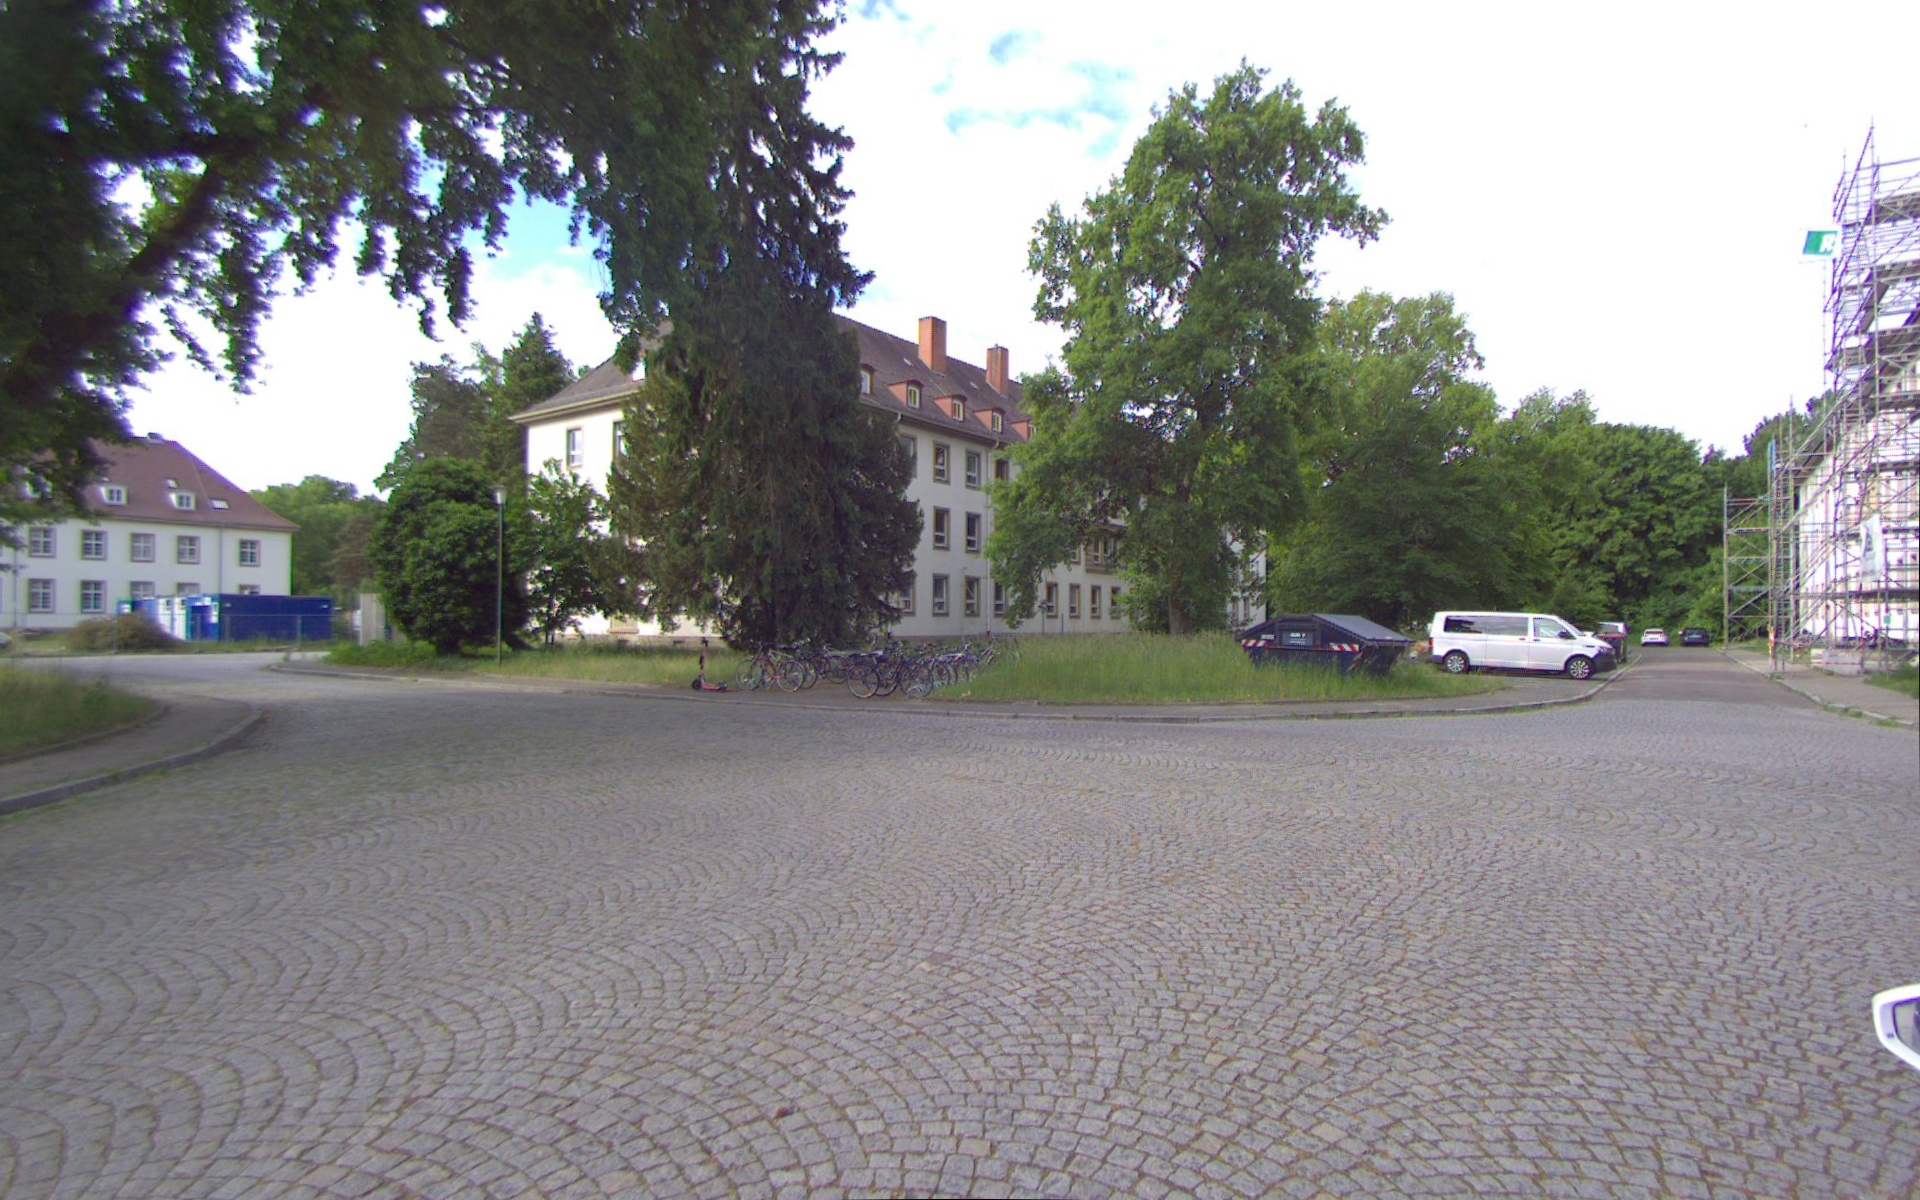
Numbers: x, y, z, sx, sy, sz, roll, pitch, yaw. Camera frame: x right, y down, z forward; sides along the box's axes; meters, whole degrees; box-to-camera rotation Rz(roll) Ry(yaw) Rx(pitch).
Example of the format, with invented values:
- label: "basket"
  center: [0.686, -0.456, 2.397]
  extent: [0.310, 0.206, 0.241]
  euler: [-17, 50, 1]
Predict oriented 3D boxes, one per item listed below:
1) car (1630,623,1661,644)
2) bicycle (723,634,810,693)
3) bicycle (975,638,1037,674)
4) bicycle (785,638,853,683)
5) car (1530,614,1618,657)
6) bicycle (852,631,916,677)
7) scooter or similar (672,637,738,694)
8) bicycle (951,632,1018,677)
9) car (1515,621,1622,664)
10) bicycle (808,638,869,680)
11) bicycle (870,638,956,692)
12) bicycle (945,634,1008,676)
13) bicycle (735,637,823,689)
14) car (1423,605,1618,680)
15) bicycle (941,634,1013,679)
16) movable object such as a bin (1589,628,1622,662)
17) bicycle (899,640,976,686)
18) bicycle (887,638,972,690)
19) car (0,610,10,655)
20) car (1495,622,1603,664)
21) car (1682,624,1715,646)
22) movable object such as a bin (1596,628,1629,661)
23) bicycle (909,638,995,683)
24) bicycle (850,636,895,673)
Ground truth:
- label: "car"
  center: [57.302, 2.817, 84.000]
  extent: [1.973, 1.568, 3.948]
  euler: [3, 0, 33]
- label: "bicycle"
  center: [-4.413, 1.425, 22.894]
  extent: [1.863, 1.239, 0.644]
  euler: [0, 1, 17]
- label: "bicycle"
  center: [1.258, 1.520, 27.324]
  extent: [1.589, 0.923, 0.527]
  euler: [-1, 1, 17]
- label: "bicycle"
  center: [-3.498, 1.497, 24.942]
  extent: [1.597, 1.088, 0.540]
  euler: [0, 1, 6]
- label: "car"
  center: [33.115, 1.874, 54.235]
  extent: [3.931, 2.040, 1.917]
  euler: [3, 0, 32]
- label: "bicycle"
  center: [-2.042, 1.445, 27.046]
  extent: [1.610, 1.201, 0.574]
  euler: [0, 1, 11]
- label: "scooter or similar"
  center: [-5.816, 1.471, 22.887]
  extent: [1.529, 1.211, 0.679]
  euler: [-1, -1, 40]
- label: "bicycle"
  center: [0.643, 1.441, 26.369]
  extent: [1.668, 1.131, 0.542]
  euler: [-1, 1, 17]
- label: "car"
  center: [26.371, 1.834, 43.560]
  extent: [3.641, 1.613, 1.755]
  euler: [3, 0, 43]
- label: "bicycle"
  center: [-3.181, 1.536, 26.366]
  extent: [1.485, 1.049, 0.545]
  euler: [0, 1, 6]
- label: "bicycle"
  center: [-1.034, 1.428, 22.093]
  extent: [1.738, 1.118, 0.702]
  euler: [-1, 1, 17]
- label: "bicycle"
  center: [0.437, 1.474, 27.011]
  extent: [1.589, 1.073, 0.527]
  euler: [-1, 1, 17]
- label: "bicycle"
  center: [-4.242, 1.467, 23.555]
  extent: [1.952, 1.129, 0.644]
  euler: [0, 1, 17]
- label: "car"
  center: [17.605, 1.290, 31.654]
  extent: [5.132, 2.087, 2.181]
  euler: [1, -1, 36]
- label: "bicycle"
  center: [0.428, 1.450, 25.850]
  extent: [1.741, 1.120, 0.542]
  euler: [-1, 1, 17]
- label: "movable object such as a bin"
  center: [29.444, 2.044, 45.826]
  extent: [1.168, 1.426, 0.972]
  euler: [3, 0, 37]
- label: "bicycle"
  center: [-0.516, 1.477, 23.428]
  extent: [1.663, 1.015, 0.632]
  euler: [-1, 1, 17]
- label: "bicycle"
  center: [-0.682, 1.438, 22.757]
  extent: [1.763, 1.118, 0.702]
  euler: [-1, 1, 17]
- label: "car"
  center: [-51.003, 1.561, 49.666]
  extent: [2.091, 2.236, 5.513]
  euler: [3, 0, 36]
- label: "car"
  center: [24.791, 1.799, 42.336]
  extent: [3.590, 1.500, 1.810]
  euler: [3, 0, 45]
- label: "car"
  center: [60.404, 2.861, 82.128]
  extent: [2.038, 1.614, 3.984]
  euler: [3, 0, 38]
- label: "movable object such as a bin"
  center: [30.322, 2.066, 46.658]
  extent: [1.168, 1.426, 0.972]
  euler: [3, 0, 37]
- label: "bicycle"
  center: [-0.185, 1.453, 24.186]
  extent: [1.921, 1.018, 0.686]
  euler: [-1, 1, 17]
- label: "bicycle"
  center: [-2.512, 1.564, 28.849]
  extent: [1.238, 1.042, 0.434]
  euler: [-1, -4, 17]
